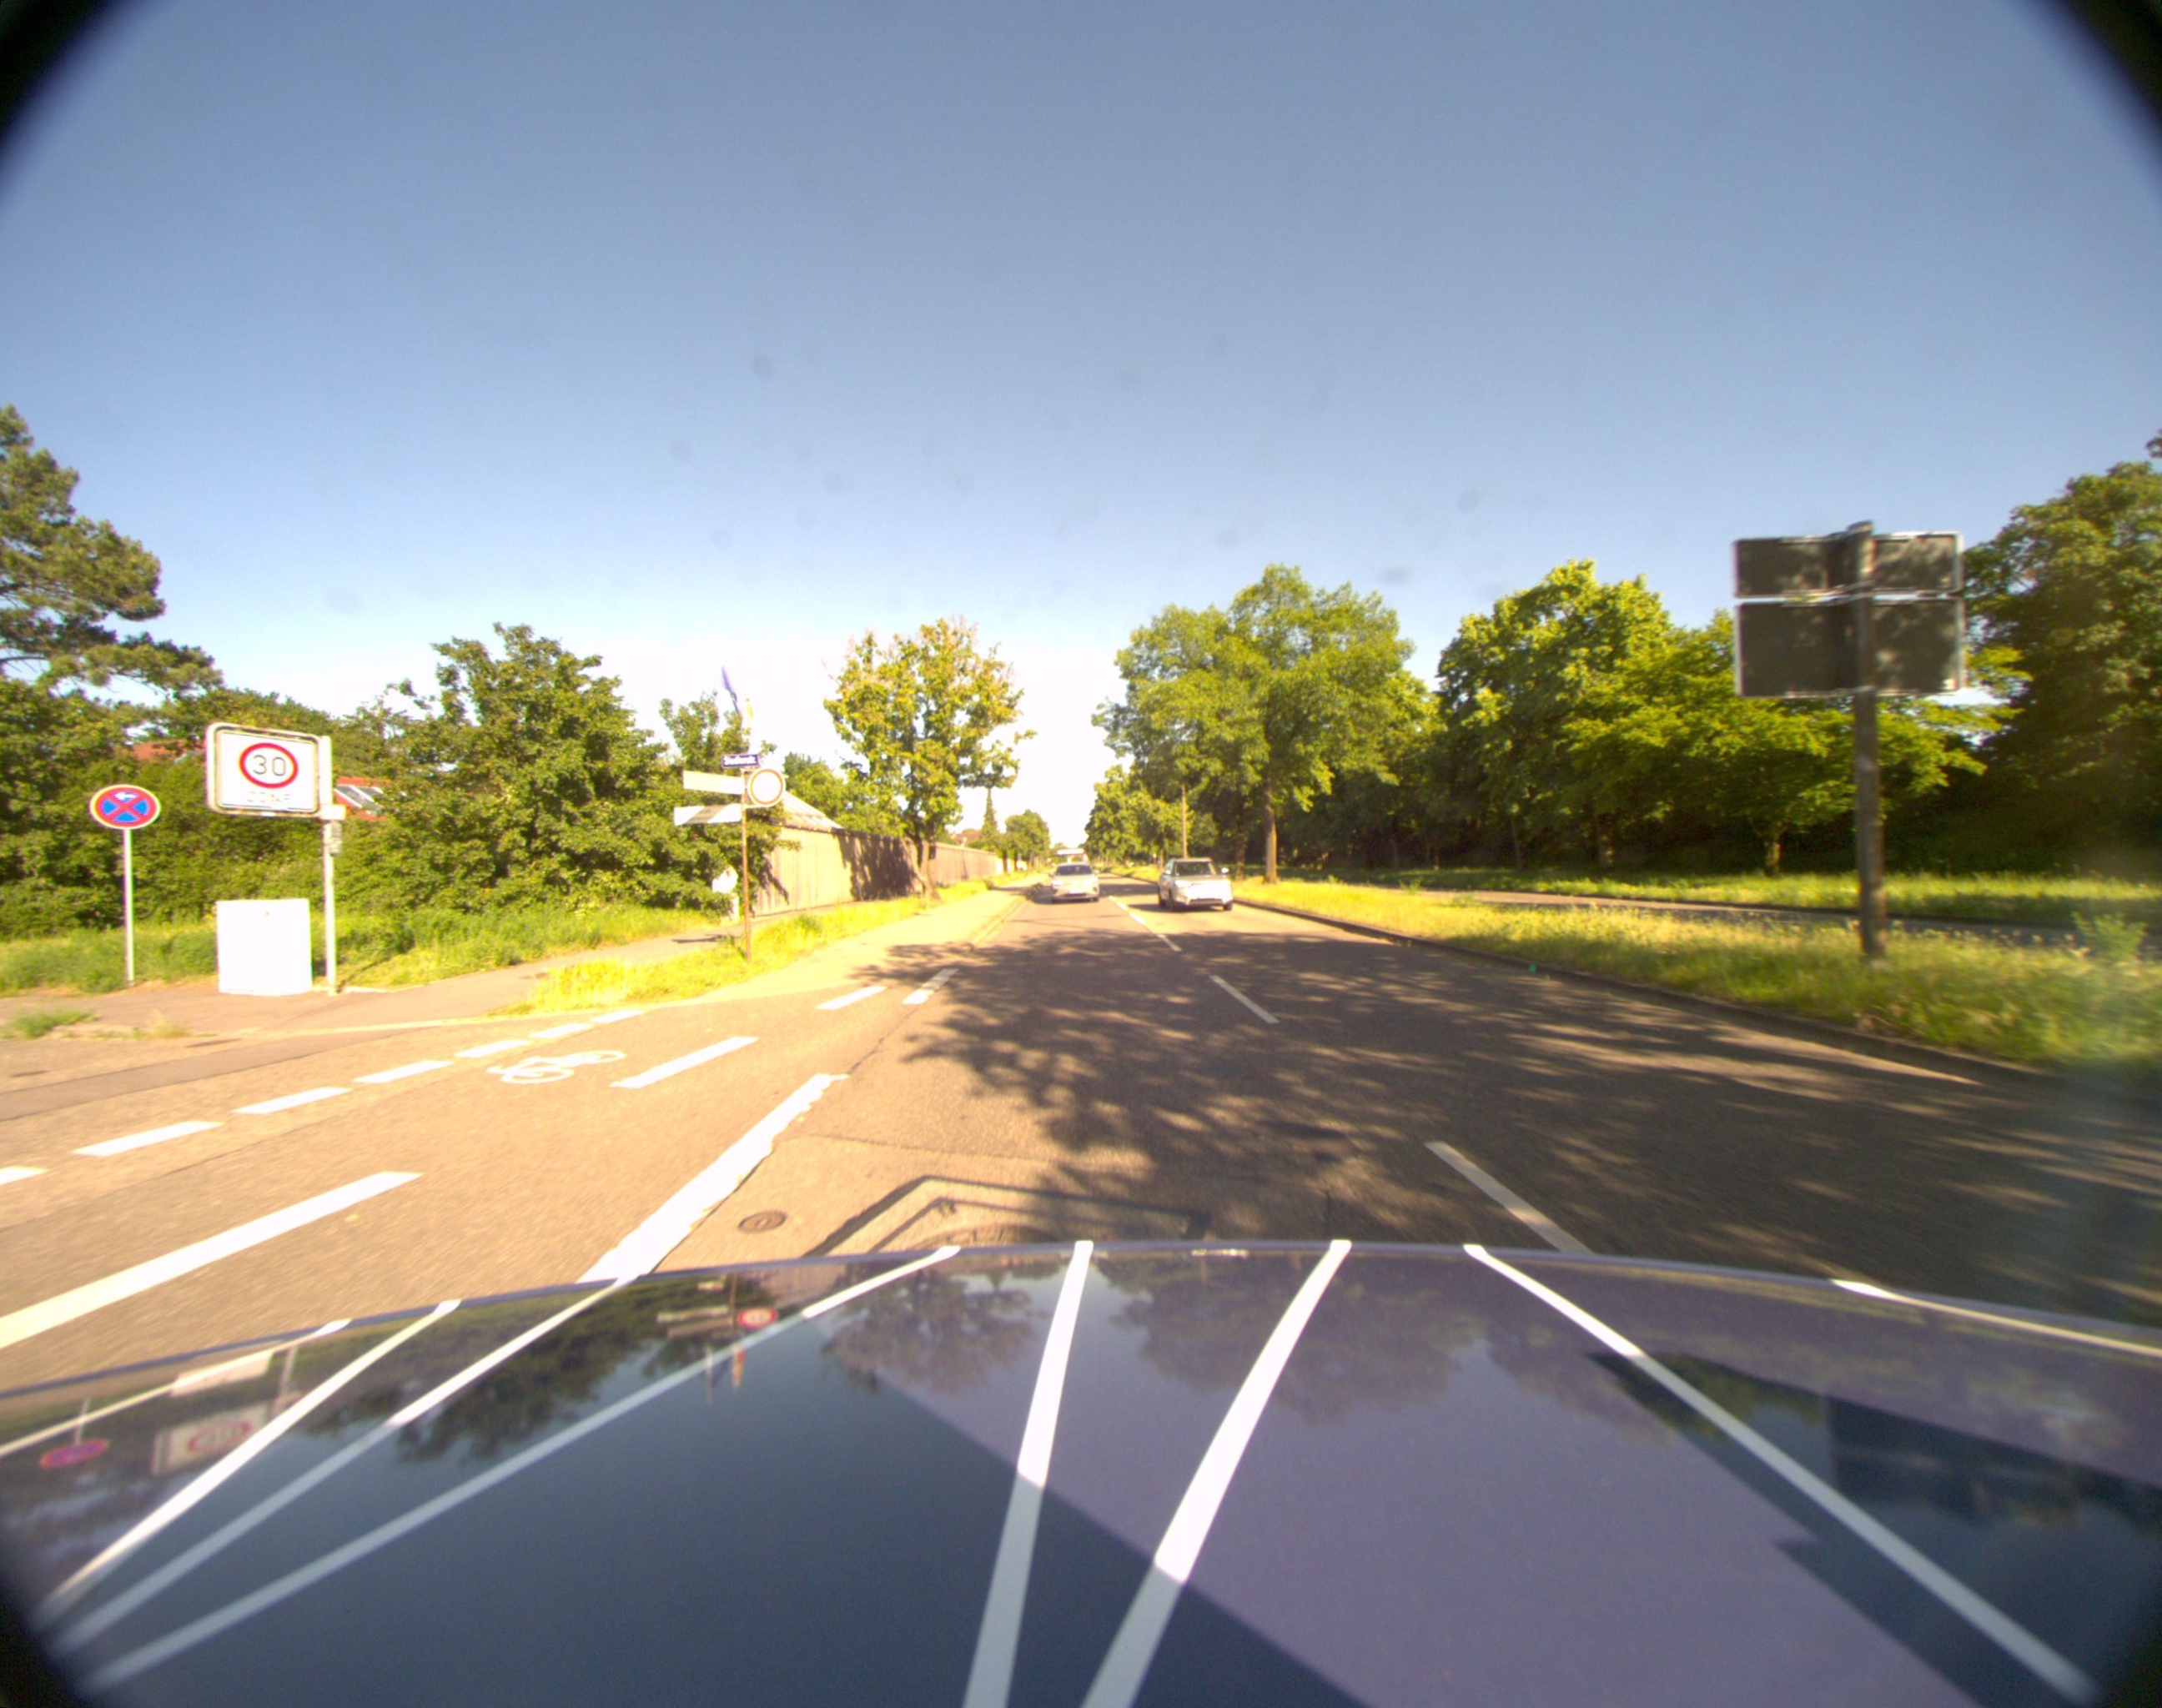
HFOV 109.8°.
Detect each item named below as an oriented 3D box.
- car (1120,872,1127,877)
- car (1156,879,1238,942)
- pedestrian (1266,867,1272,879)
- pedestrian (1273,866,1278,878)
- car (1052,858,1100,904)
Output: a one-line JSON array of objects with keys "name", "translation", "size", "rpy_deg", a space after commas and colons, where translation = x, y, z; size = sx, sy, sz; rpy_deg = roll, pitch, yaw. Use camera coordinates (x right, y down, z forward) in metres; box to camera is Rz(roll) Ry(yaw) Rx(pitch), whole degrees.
[{"name": "car", "translation": [12.858, 6.334, 229.626], "size": [1.730, 1.447, 4.346], "rpy_deg": [-1, -1, -1]}, {"name": "car", "translation": [3.453, 1.649, 23.375], "size": [1.789, 1.600, 4.105], "rpy_deg": [-2, 0, -1]}, {"name": "pedestrian", "translation": [26.505, 2.677, 106.923], "size": [0.682, 1.650, 0.680], "rpy_deg": [-5, 2, 13]}, {"name": "pedestrian", "translation": [27.305, 2.588, 106.715], "size": [0.560, 1.650, 0.541], "rpy_deg": [-4, 1, 11]}, {"name": "car", "translation": [-0.223, 1.066, 31.365], "size": [1.766, 1.606, 4.296], "rpy_deg": [-4, 0, -1]}]
